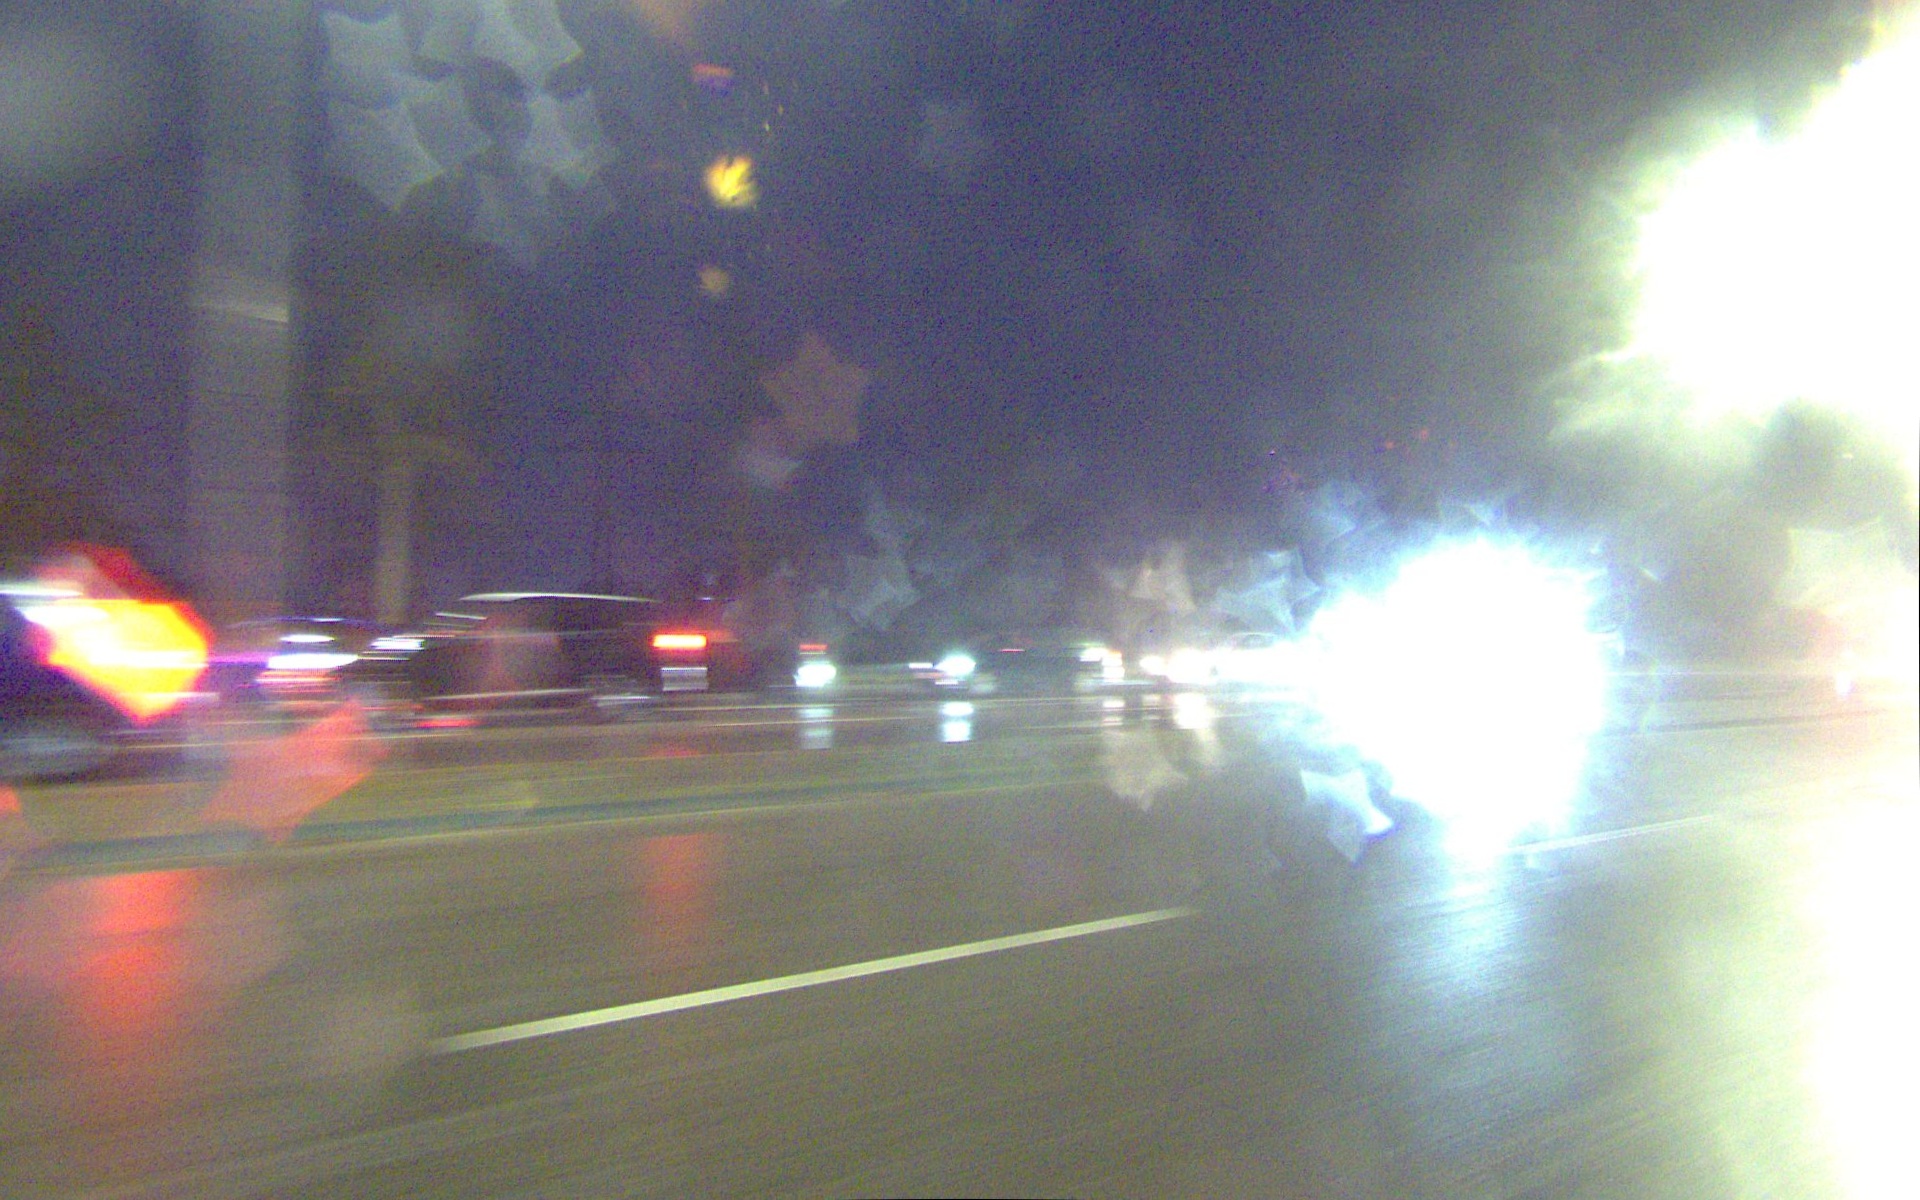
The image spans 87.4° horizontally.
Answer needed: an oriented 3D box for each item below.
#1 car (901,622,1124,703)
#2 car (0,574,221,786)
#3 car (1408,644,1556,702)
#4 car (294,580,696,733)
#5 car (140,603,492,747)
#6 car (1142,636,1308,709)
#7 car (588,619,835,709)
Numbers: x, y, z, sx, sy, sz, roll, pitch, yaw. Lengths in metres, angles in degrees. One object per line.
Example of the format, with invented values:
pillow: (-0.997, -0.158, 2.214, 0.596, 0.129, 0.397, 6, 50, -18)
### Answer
car: (1.159, 1.378, 21.362, 4.482, 1.558, 1.843, 4, -5, -31)
car: (-8.540, 0.592, 7.845, 4.258, 1.598, 1.803, 2, -2, -32)
car: (15.412, 2.096, 29.612, 4.381, 1.551, 1.874, 1, -1, -31)
car: (-5.870, 0.680, 12.995, 4.436, 1.688, 1.789, 1, -1, -31)
car: (-9.285, 1.095, 14.847, 4.078, 1.872, 1.751, 4, -2, -31)
car: (6.566, 1.741, 24.770, 4.098, 1.623, 1.486, 2, 0, -31)
car: (-4.418, 1.065, 18.013, 3.993, 1.395, 1.751, 0, 0, -31)
